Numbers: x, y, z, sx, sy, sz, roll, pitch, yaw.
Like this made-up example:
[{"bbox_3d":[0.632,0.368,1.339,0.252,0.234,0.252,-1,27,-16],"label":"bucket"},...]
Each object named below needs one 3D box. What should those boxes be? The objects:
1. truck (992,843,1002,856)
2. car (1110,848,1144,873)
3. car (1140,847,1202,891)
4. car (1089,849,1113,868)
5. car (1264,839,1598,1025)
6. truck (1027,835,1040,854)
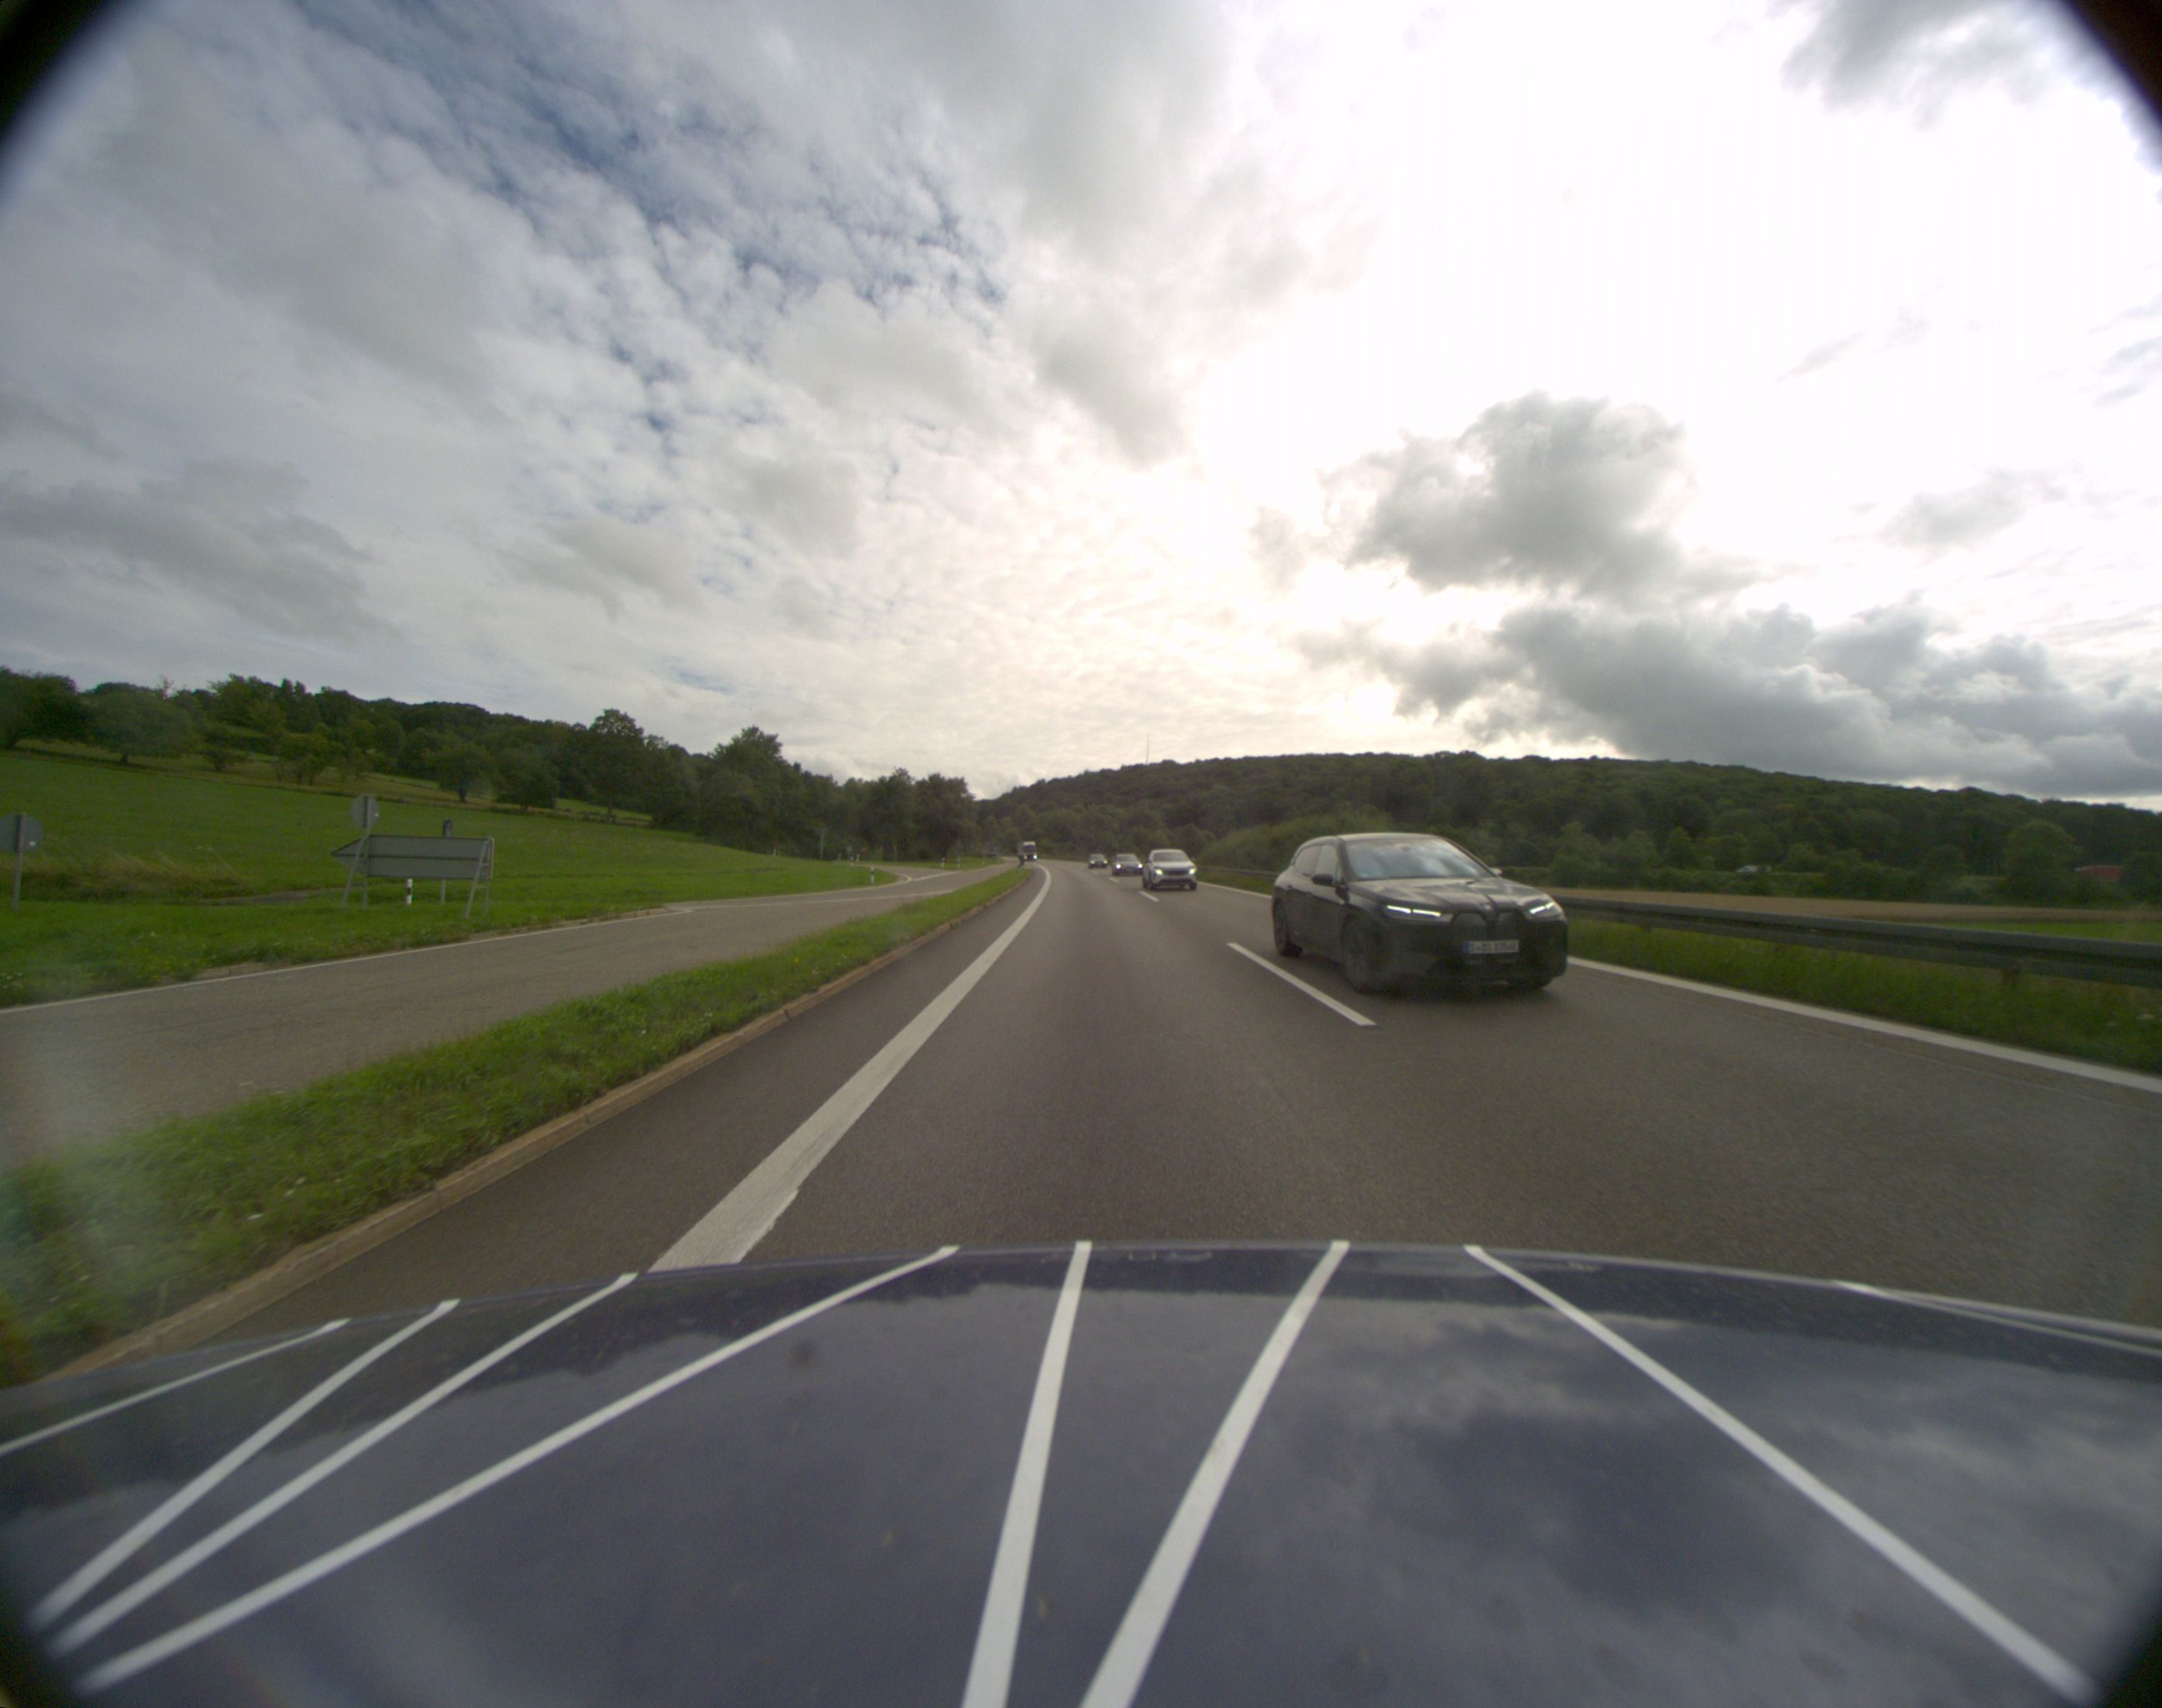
[{"bbox_3d":[-27.524,-1.519,249.379,2.798,3.949,5.933,0,2,-10],"label":"truck"},{"bbox_3d":[3.215,0.409,53.575,1.999,1.656,4.413,0,1,-1],"label":"car"},{"bbox_3d":[3.688,0.607,31.967,1.999,1.656,4.414,-2,0,0],"label":"car"},{"bbox_3d":[2.026,0.435,77.195,1.999,1.656,4.411,0,2,-5],"label":"car"},{"bbox_3d":[3.731,0.707,9.152,1.998,1.656,4.414,-1,0,0],"label":"car"},{"bbox_3d":[-10.014,-1.990,159.783,2.796,3.949,5.936,0,2,-4],"label":"truck"}]
